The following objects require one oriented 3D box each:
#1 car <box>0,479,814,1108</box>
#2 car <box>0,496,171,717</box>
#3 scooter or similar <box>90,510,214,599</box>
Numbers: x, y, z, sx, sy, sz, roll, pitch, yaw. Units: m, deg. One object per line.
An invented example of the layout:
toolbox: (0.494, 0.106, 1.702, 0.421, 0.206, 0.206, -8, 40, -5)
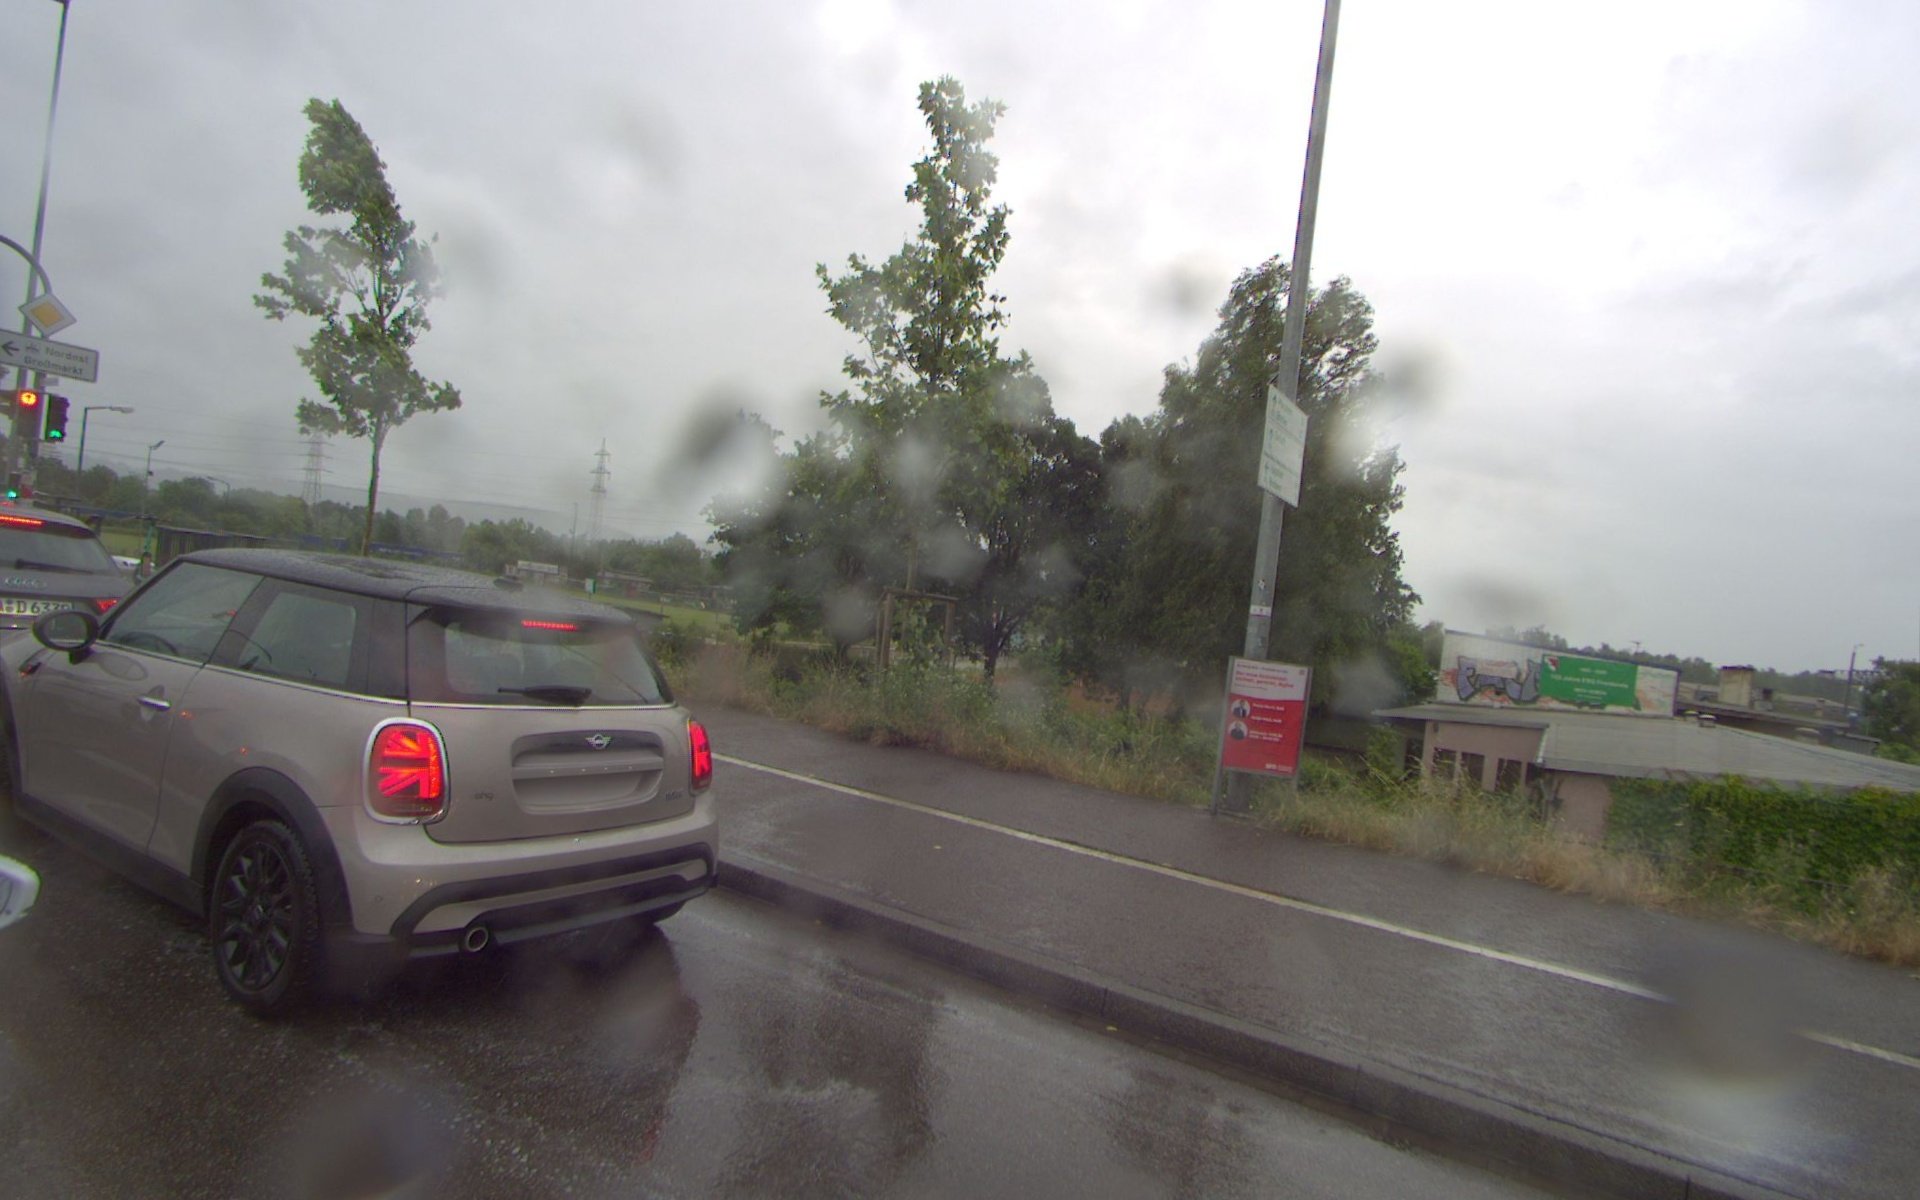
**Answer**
car: (-2.742, 0.474, 4.334, 3.815, 1.524, 1.707, 7, -4, 32)
car: (-7.527, -0.094, 7.244, 3.569, 1.383, 1.600, 5, -1, 30)
scooter or similar: (-13.887, -0.798, 17.256, 2.971, 1.226, 0.691, 7, 0, 33)
